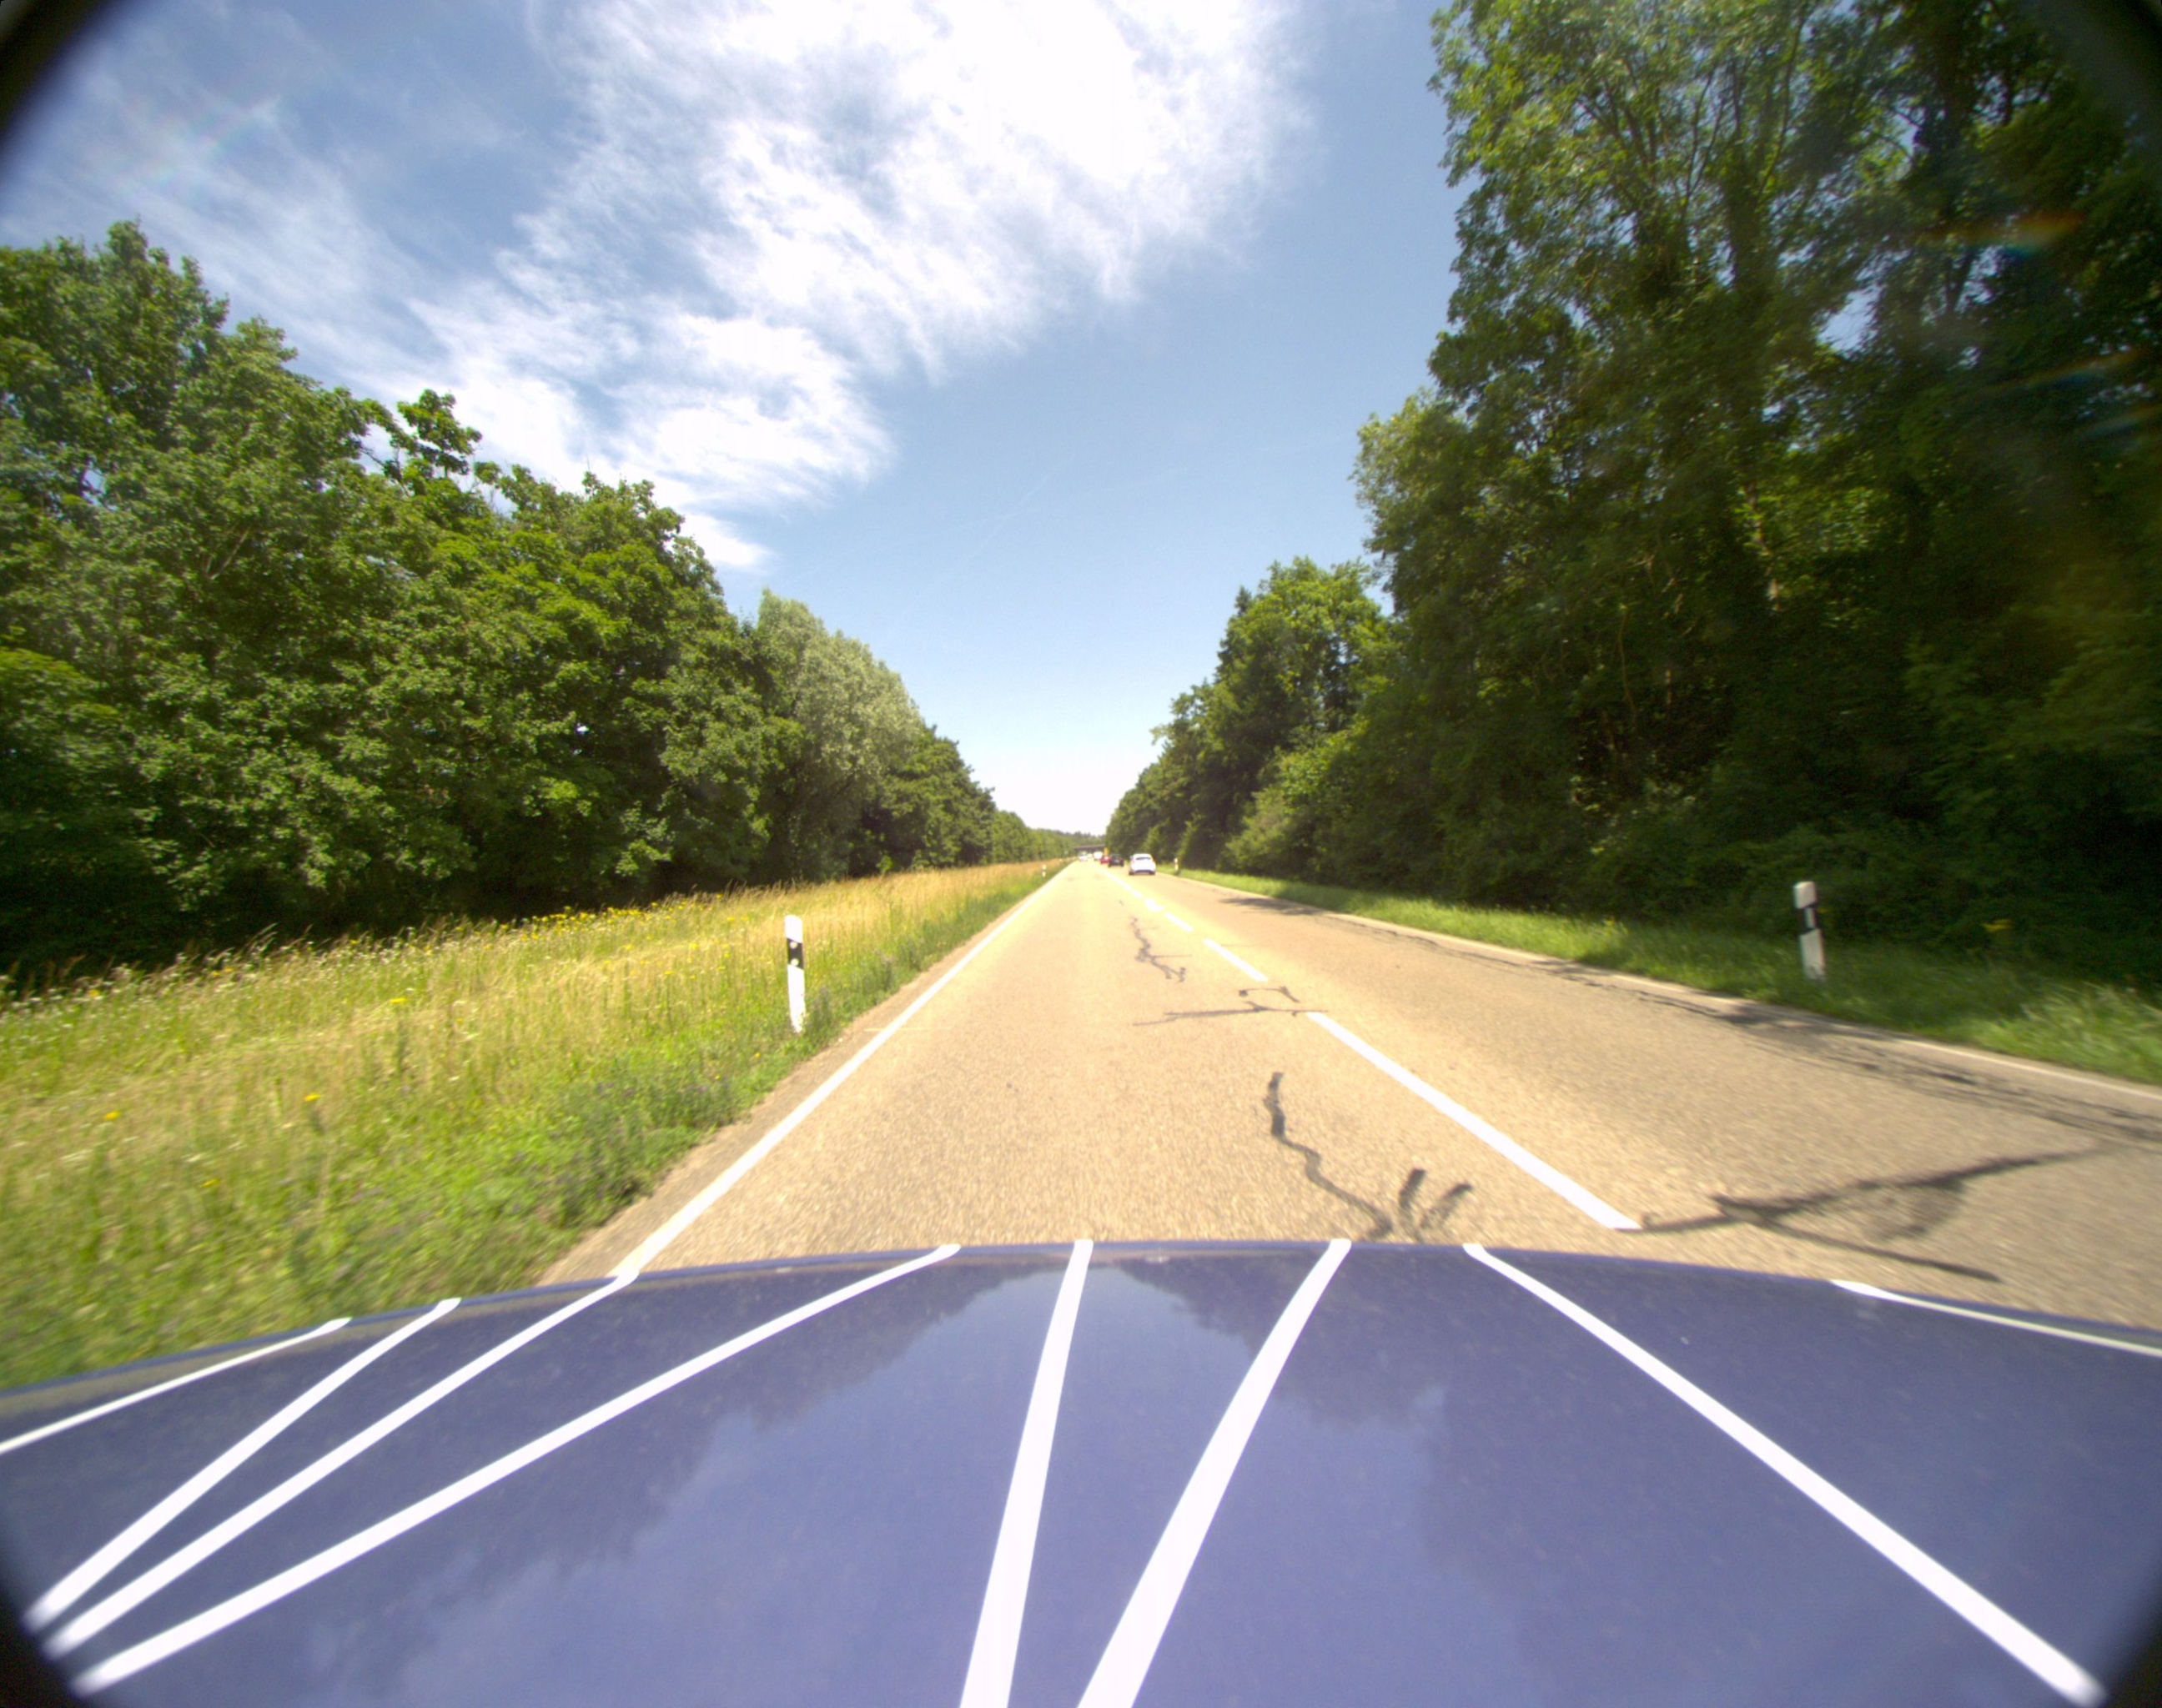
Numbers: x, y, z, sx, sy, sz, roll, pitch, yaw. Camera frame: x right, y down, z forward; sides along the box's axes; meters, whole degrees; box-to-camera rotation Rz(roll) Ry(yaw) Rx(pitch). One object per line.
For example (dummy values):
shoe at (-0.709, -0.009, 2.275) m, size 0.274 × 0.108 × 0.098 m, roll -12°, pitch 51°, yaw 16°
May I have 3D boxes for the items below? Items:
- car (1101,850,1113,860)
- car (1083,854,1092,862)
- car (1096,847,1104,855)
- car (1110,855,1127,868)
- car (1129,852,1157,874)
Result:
car at (4.080, 0.208, 119.444) m, size 1.686 × 1.484 × 4.000 m, roll -2°, pitch 0°, yaw 2°
car at (1.535, 1.019, 183.741) m, size 1.865 × 1.747 × 3.999 m, roll -3°, pitch 1°, yaw -1°
car at (4.460, -0.672, 179.634) m, size 1.880 × 1.918 × 4.987 m, roll -2°, pitch 0°, yaw 0°
car at (4.401, 0.862, 89.468) m, size 1.788 × 1.441 × 4.109 m, roll -2°, pitch 0°, yaw 2°
car at (4.368, 0.600, 54.240) m, size 1.682 × 1.425 × 3.772 m, roll -1°, pitch 1°, yaw 0°
